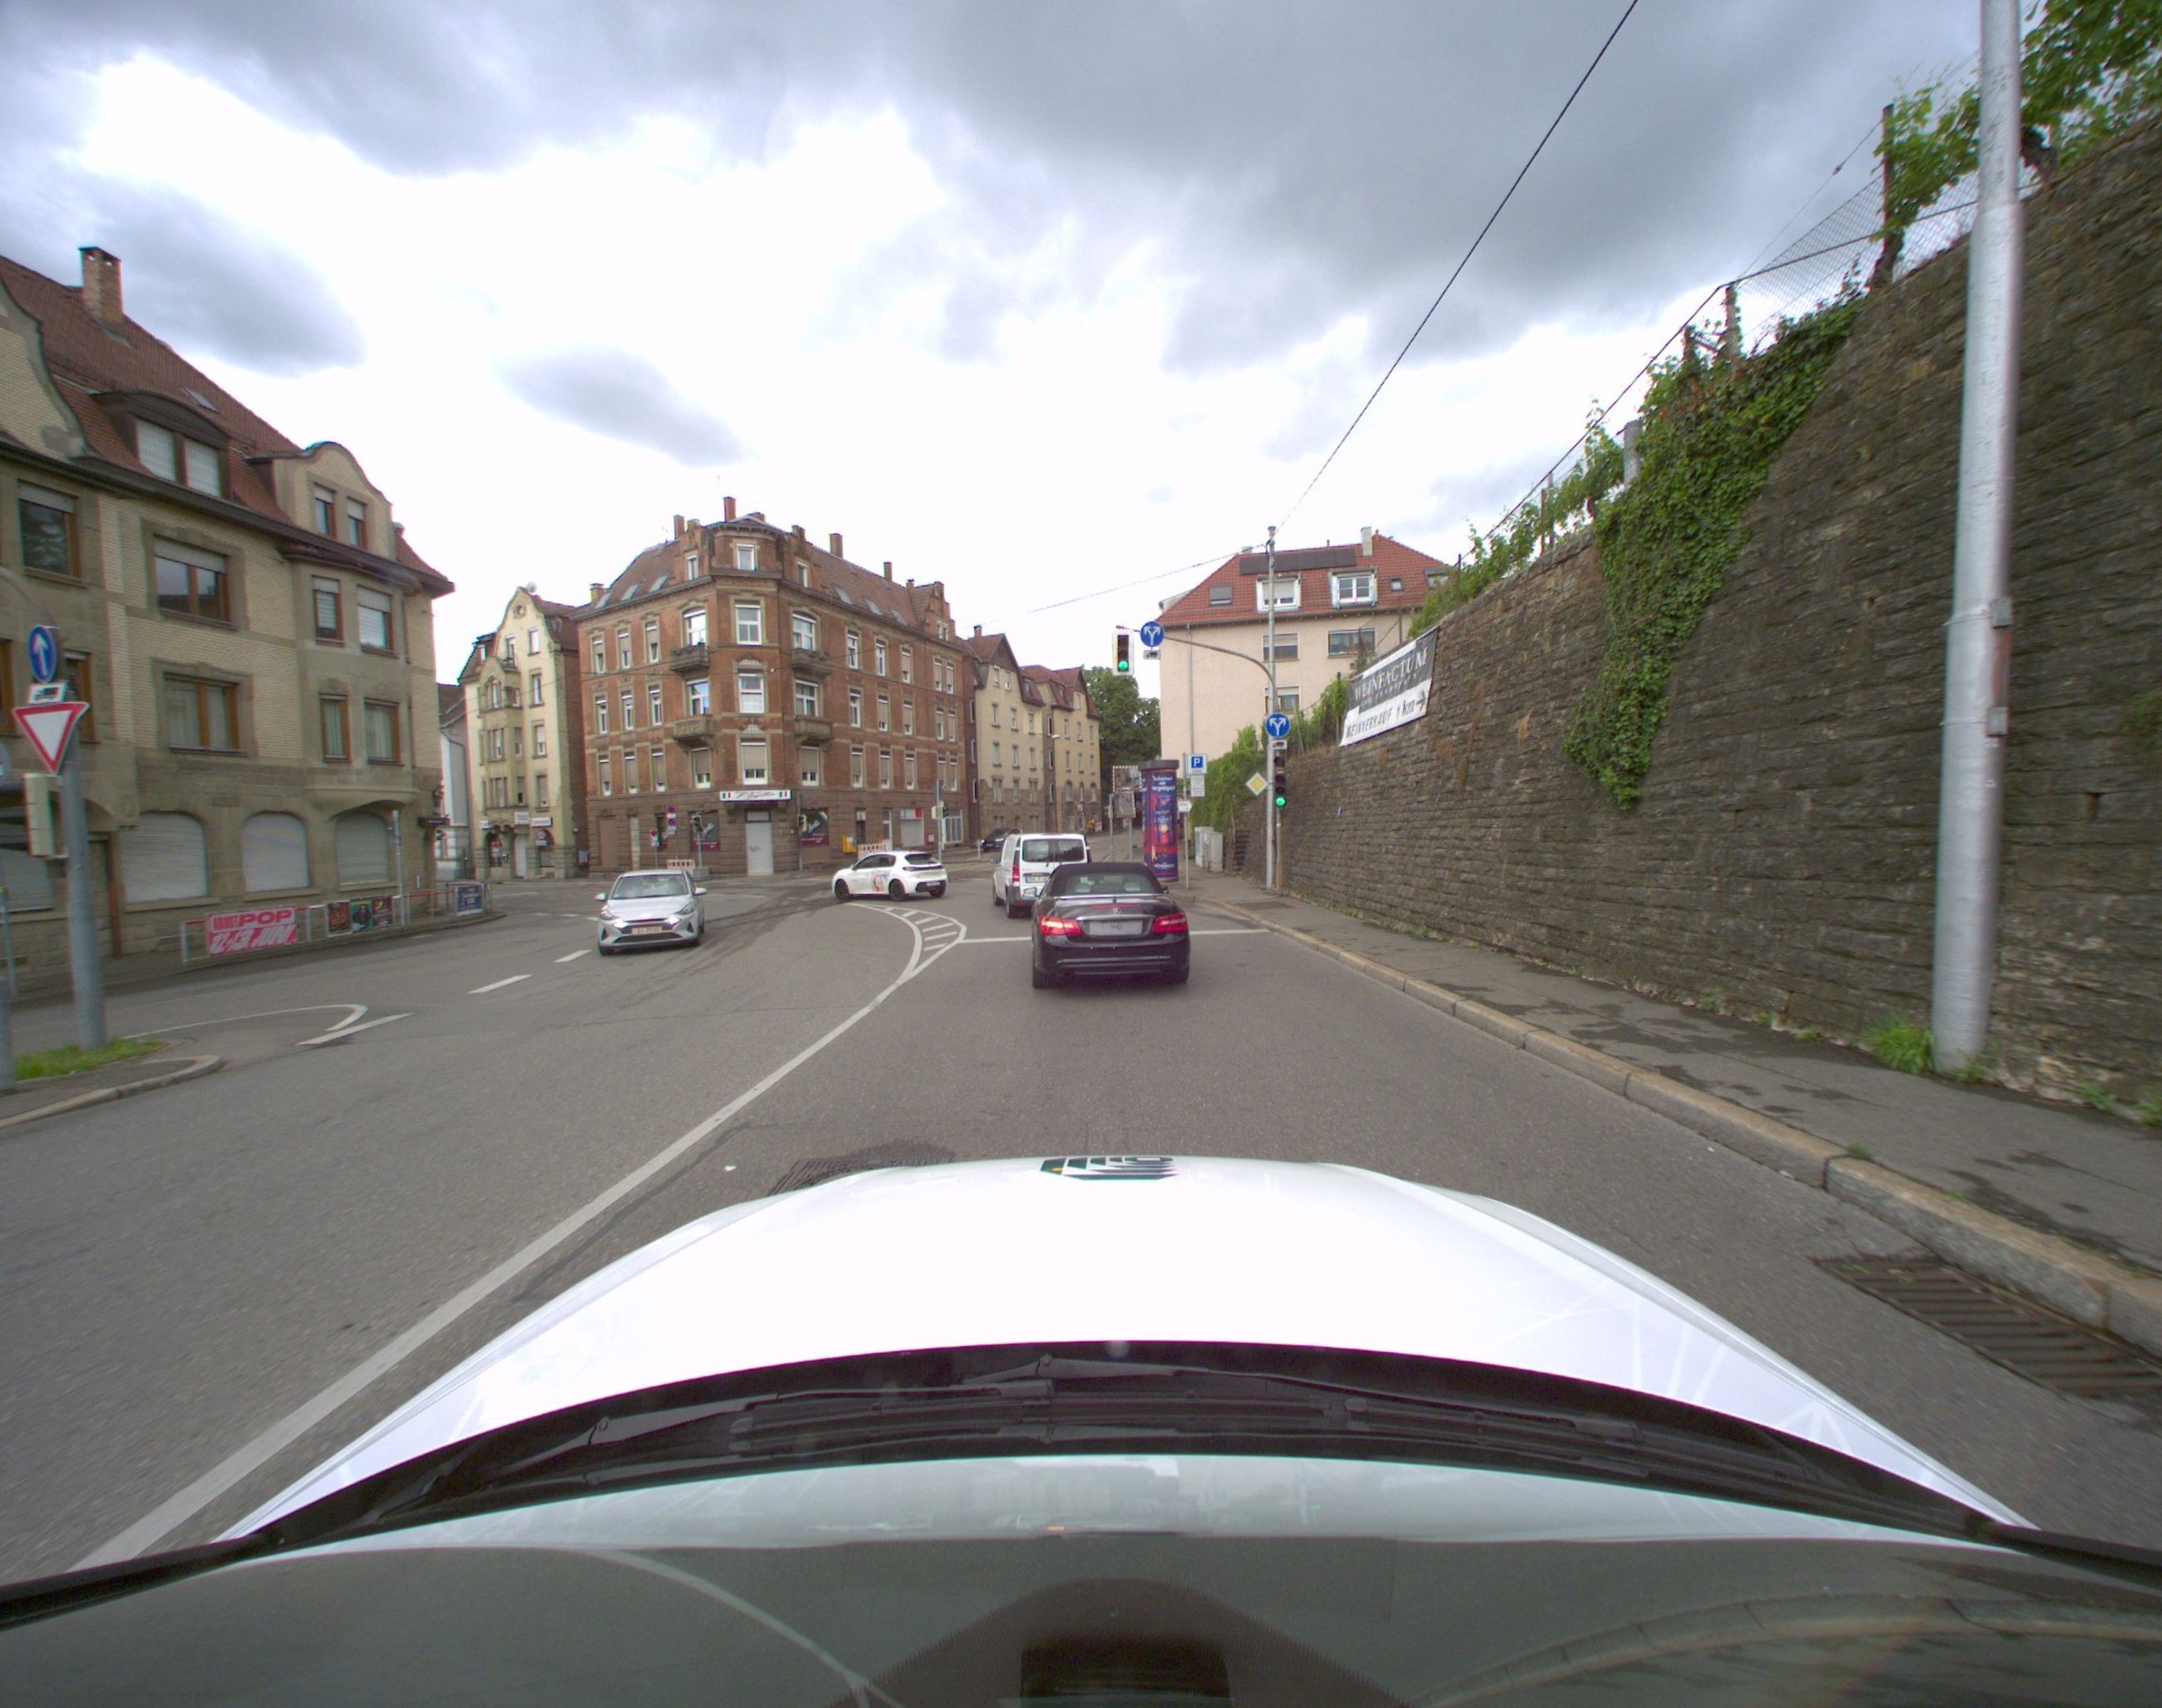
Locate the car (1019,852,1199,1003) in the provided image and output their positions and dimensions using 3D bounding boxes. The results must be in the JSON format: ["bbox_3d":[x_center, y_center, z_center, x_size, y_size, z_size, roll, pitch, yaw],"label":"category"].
[{"bbox_3d":[0.361,0.748,10.503,1.755,1.409,4.401,-4,0,2],"label":"car"}]

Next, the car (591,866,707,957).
[{"bbox_3d":[-8.472,1.075,16.246,1.677,1.467,3.614,-4,-1,-23],"label":"car"}]

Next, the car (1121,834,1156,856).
[{"bbox_3d":[5.175,-0.843,72.457,1.933,1.718,4.021,-3,2,20],"label":"car"}]

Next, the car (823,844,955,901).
[{"bbox_3d":[-5.897,0.579,24.859,3.867,1.466,1.697,-4,0,35],"label":"car"}]

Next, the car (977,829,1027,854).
[{"bbox_3d":[-5.680,-0.939,59.151,1.978,1.514,4.307,-2,3,17],"label":"car"}]

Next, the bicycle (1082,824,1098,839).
[{"bbox_3d":[0.943,-2.290,81.952,0.626,1.306,2.613,-5,2,20],"label":"bicycle"}]

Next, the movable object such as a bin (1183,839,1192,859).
[{"bbox_3d":[5.068,-0.231,38.836,0.343,0.911,0.494,-1,0,-4],"label":"movable object such as a bin"}]

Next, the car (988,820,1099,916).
[{"bbox_3d":[-1.051,0.307,19.715,1.893,1.928,4.626,-4,0,-12],"label":"car"}]
